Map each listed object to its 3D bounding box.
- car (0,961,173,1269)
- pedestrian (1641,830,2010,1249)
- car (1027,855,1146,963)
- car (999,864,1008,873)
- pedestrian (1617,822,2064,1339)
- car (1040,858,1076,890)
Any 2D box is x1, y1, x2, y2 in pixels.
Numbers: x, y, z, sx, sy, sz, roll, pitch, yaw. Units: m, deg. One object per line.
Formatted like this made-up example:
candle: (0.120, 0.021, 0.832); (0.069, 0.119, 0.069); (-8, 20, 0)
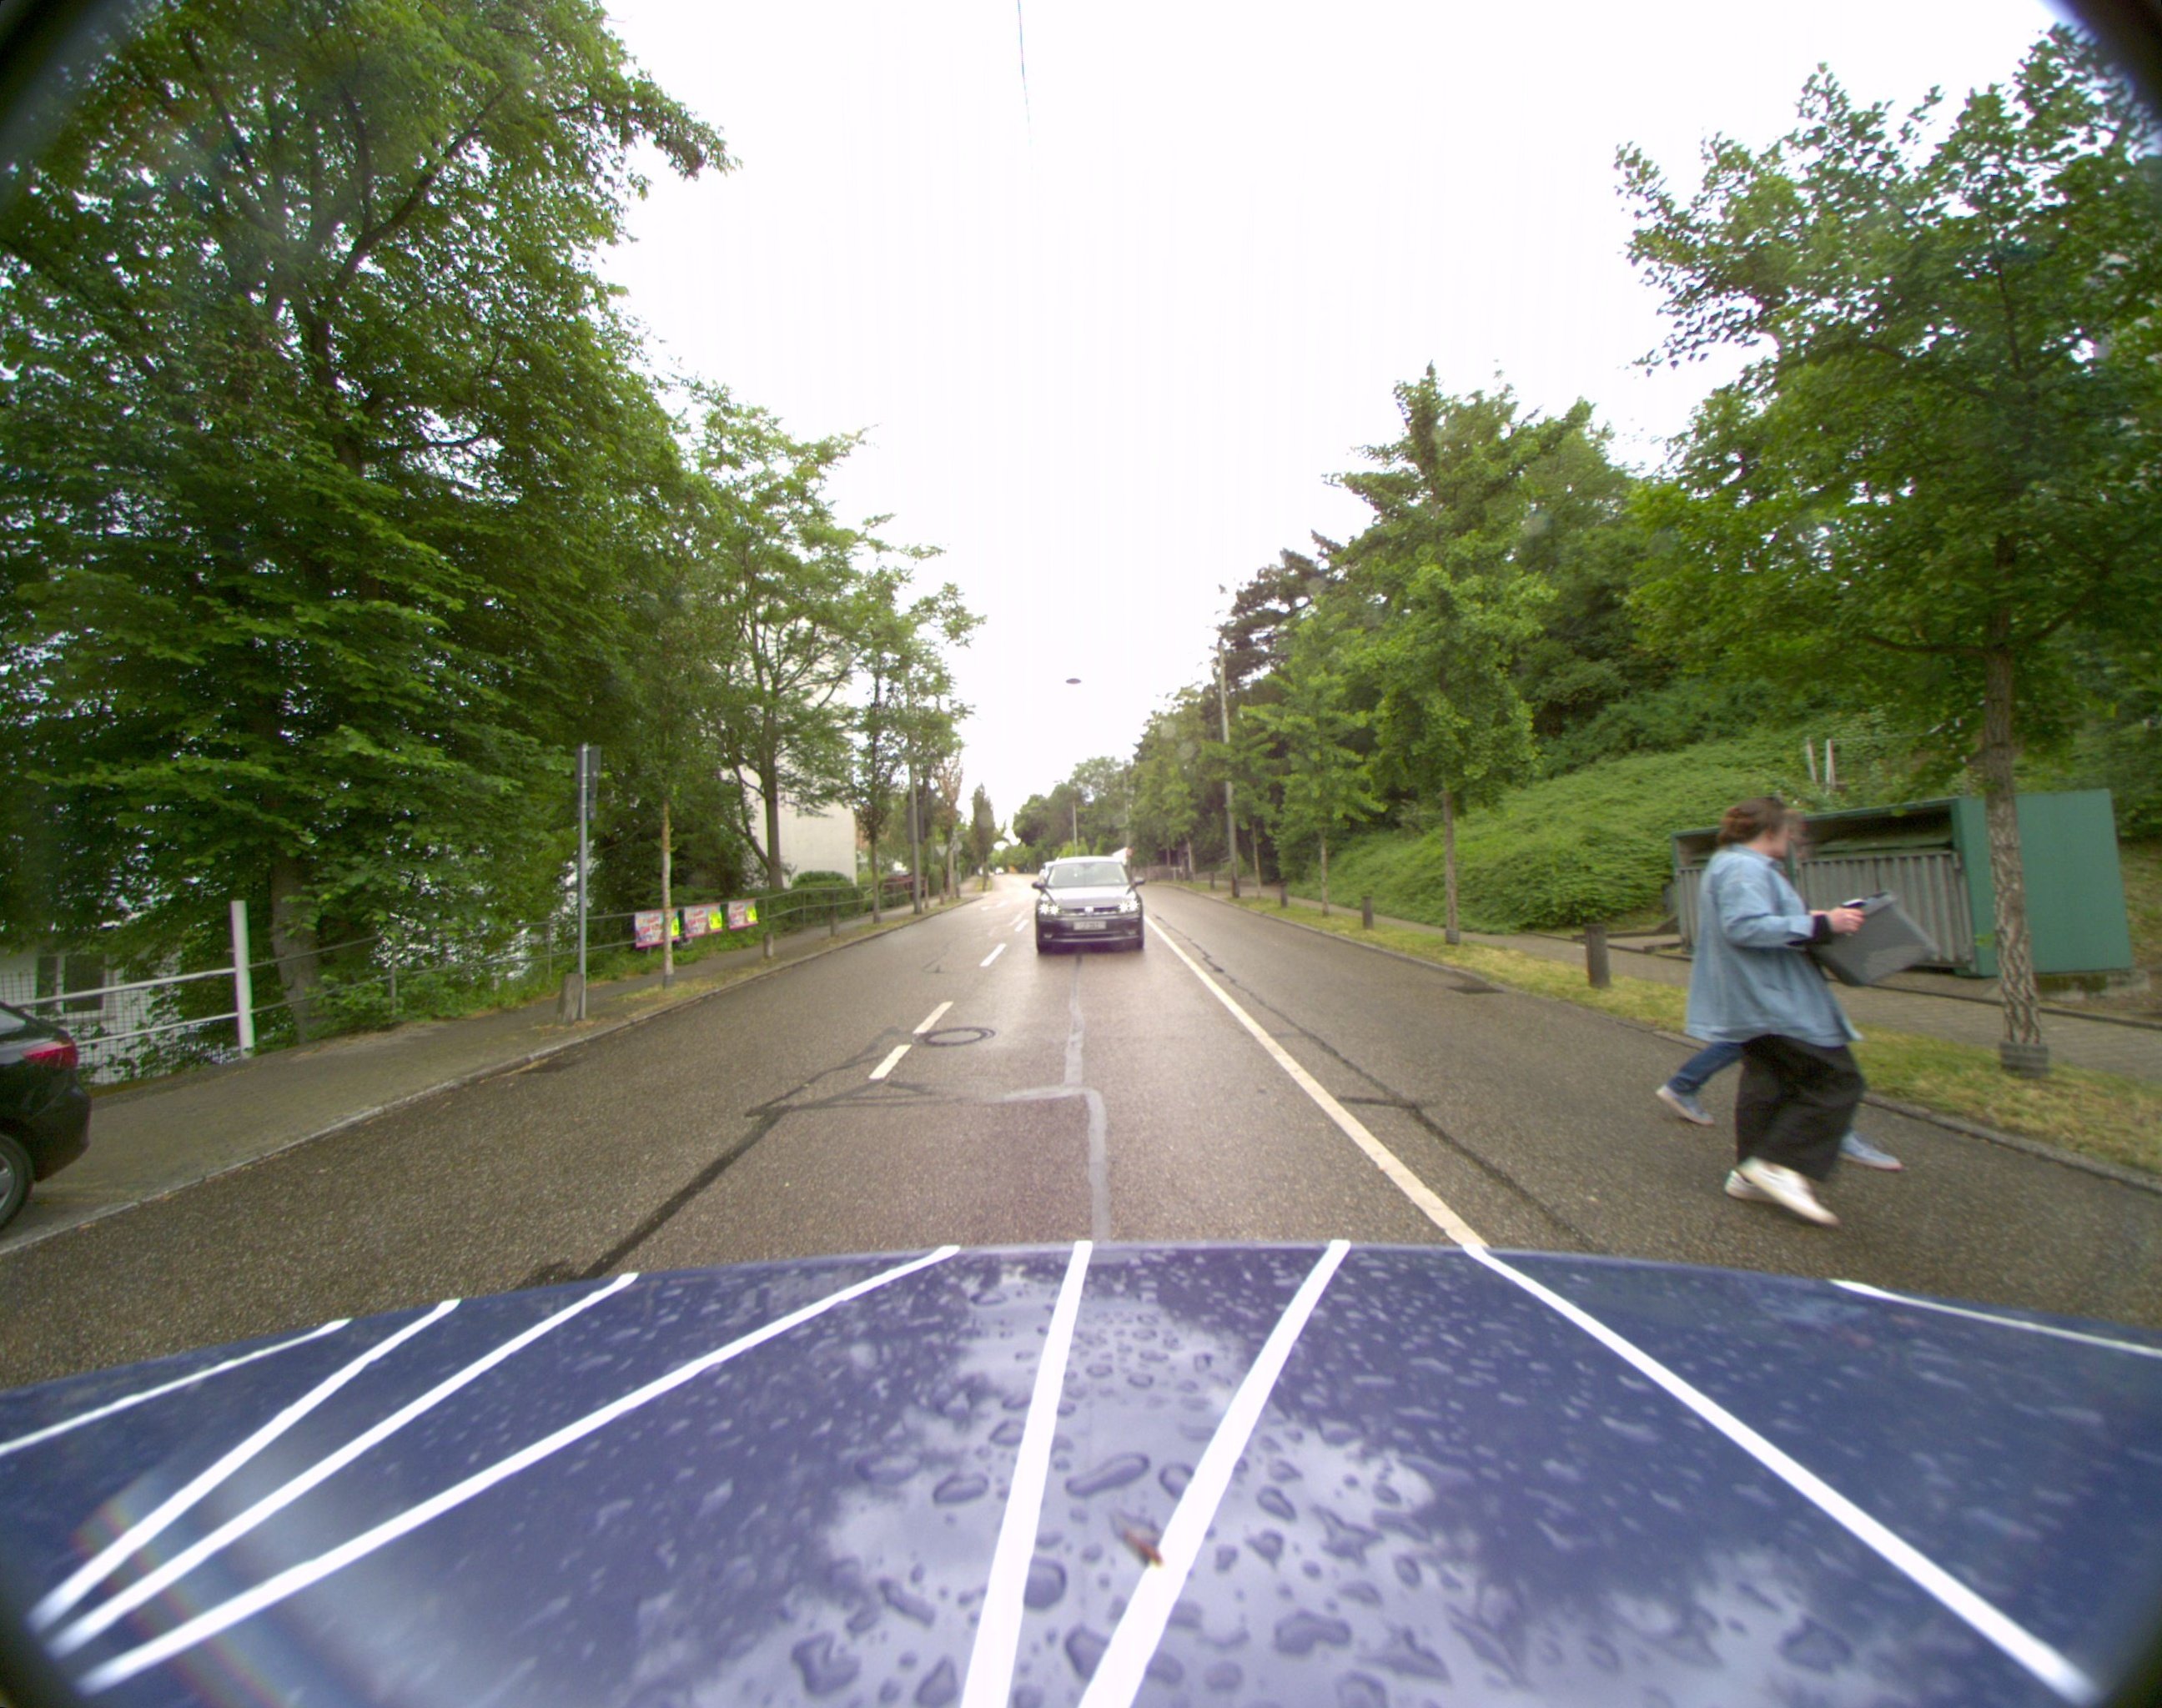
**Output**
car: (-6.340, 1.363, 2.239); (1.999, 1.426, 4.442); (-1, 0, -1)
pedestrian: (3.685, 0.785, 3.854); (0.825, 1.772, 1.071); (-1, 1, -18)
car: (0.111, 0.890, 14.360); (1.834, 1.608, 4.292); (-3, 1, 1)
car: (-16.733, 3.098, 164.032); (1.892, 1.710, 4.235); (-1, 1, -3)
pedestrian: (3.025, 0.796, 3.202); (1.071, 1.772, 0.826); (-4, 1, 28)
car: (-1.378, 1.138, 44.106); (1.835, 1.608, 4.349); (-3, 1, -4)
